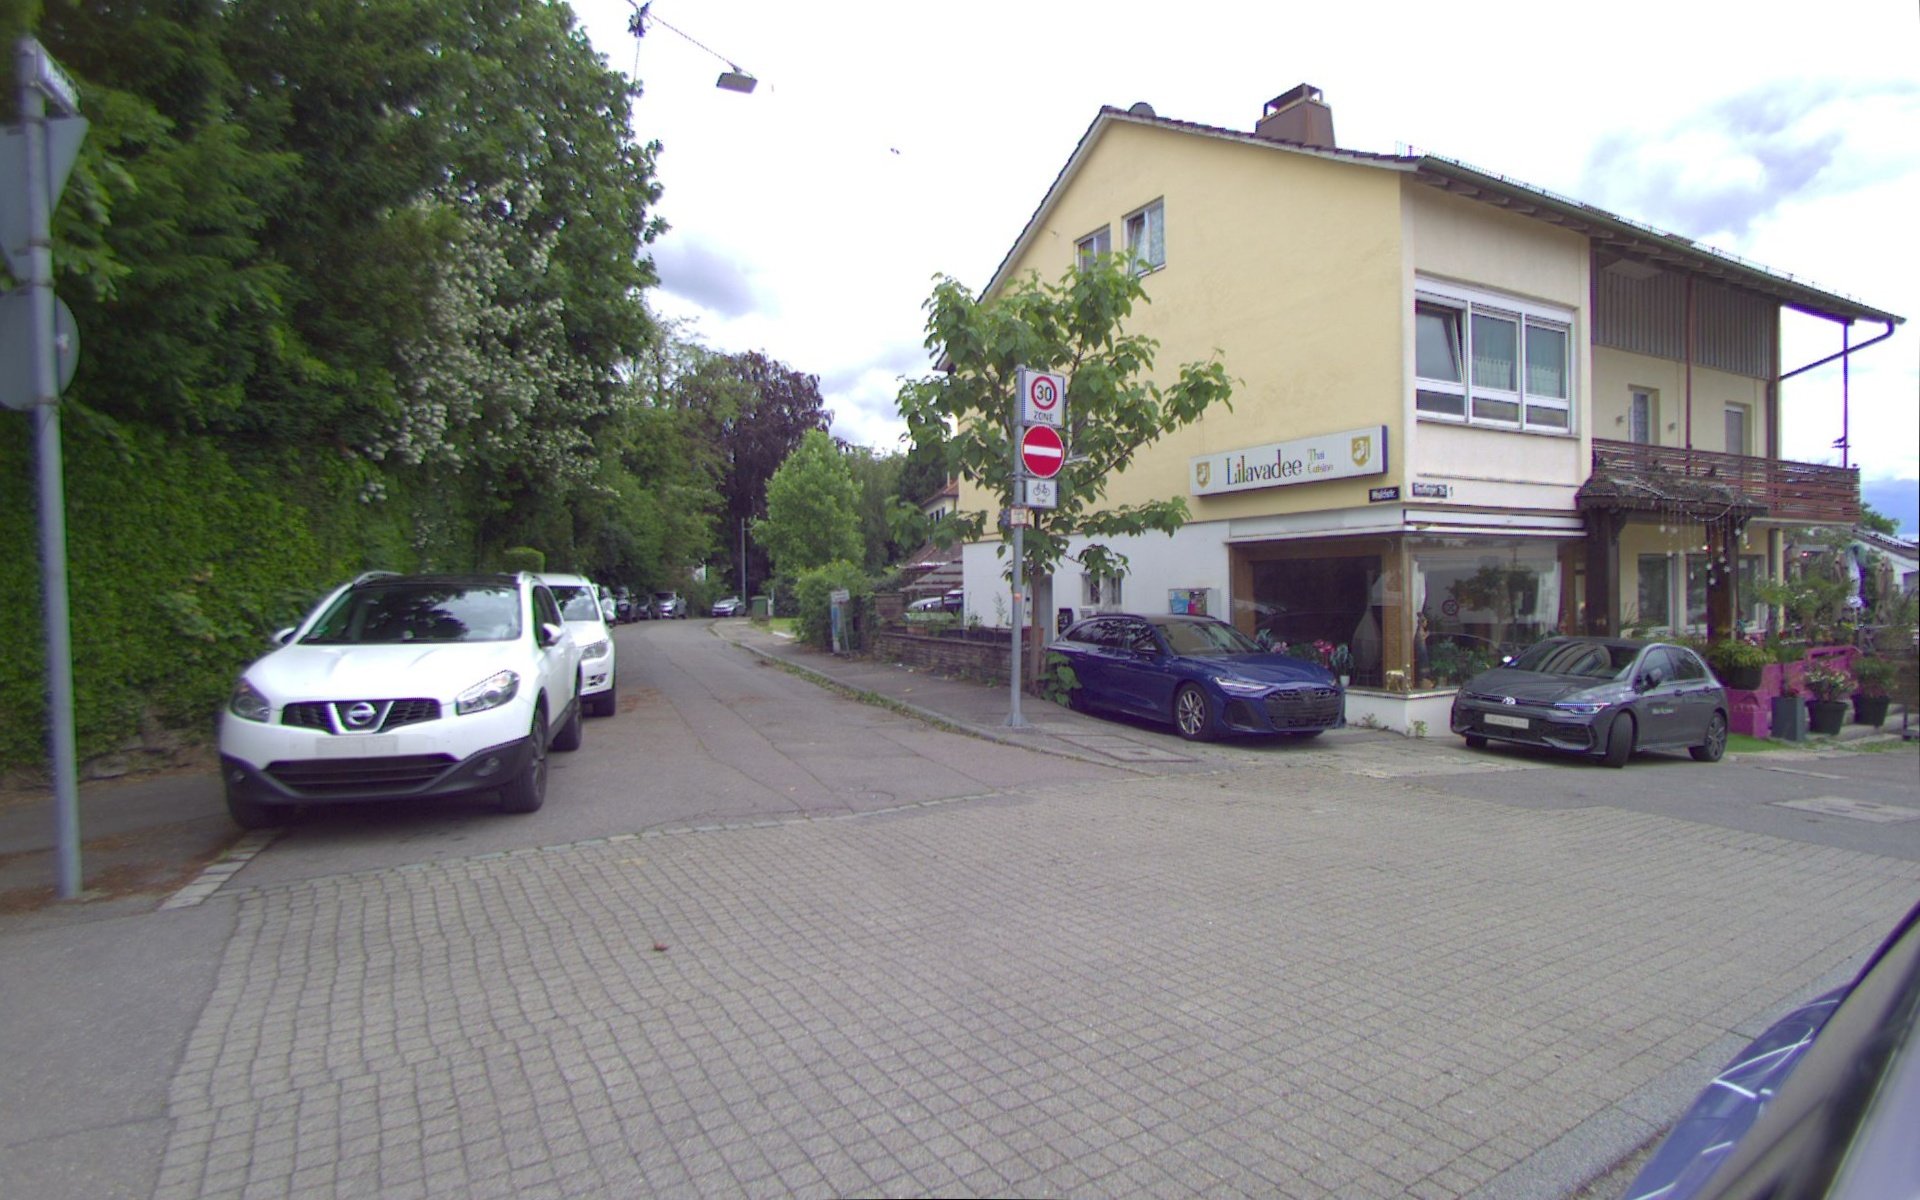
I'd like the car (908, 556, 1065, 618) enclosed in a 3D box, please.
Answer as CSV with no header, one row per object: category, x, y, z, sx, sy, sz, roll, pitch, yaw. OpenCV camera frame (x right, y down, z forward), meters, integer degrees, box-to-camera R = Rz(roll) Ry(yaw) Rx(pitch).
car,0.790,-0.361,30.231,4.235,1.480,1.802,4,-2,-19

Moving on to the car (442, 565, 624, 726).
car,-5.179,0.440,12.606,1.761,1.643,4.080,-1,1,-20

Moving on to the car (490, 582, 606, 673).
car,-7.444,0.408,18.536,1.761,1.441,4.080,-1,1,-20

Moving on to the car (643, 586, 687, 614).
car,-16.242,-0.030,55.791,1.543,1.502,3.476,0,1,-3

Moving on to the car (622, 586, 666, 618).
car,-15.919,0.085,51.109,1.542,1.502,3.479,-1,1,-8

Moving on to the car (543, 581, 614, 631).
car,-12.219,0.147,32.589,1.542,1.502,3.745,-1,1,-11

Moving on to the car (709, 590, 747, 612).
car,-16.350,0.041,71.454,1.547,1.502,3.468,0,1,7

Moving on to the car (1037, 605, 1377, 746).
car,2.913,0.834,13.207,1.761,1.405,4.758,2,0,-23

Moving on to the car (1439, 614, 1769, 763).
car,7.941,1.071,12.368,4.242,1.480,1.800,5,-2,-34

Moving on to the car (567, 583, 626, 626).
car,-13.425,0.112,37.542,1.542,1.502,3.481,-1,1,-11

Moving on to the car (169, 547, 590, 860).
car,-3.869,0.513,7.551,1.761,1.643,4.144,-1,1,-16

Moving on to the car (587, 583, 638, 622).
car,-14.209,0.054,41.523,1.542,1.502,3.481,-1,1,-11
